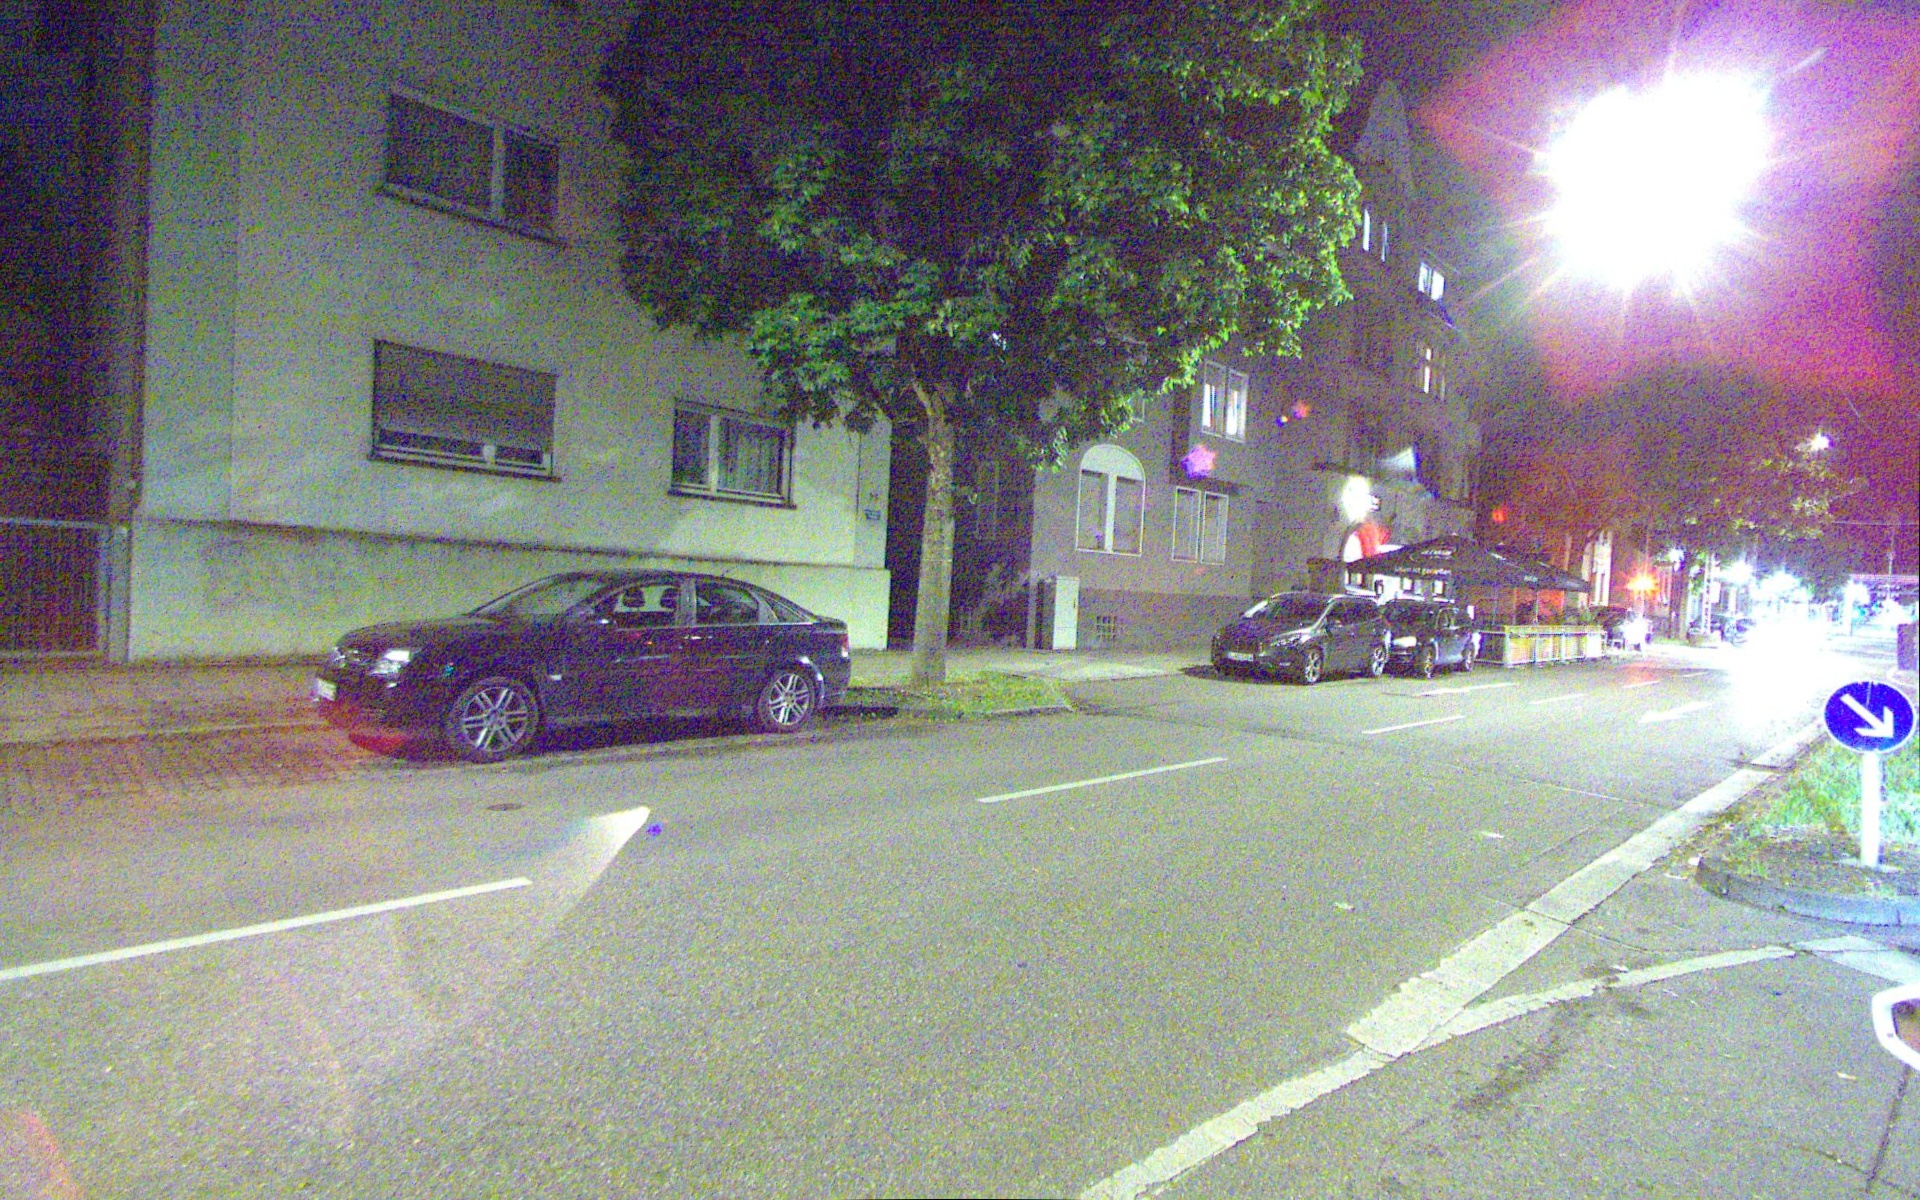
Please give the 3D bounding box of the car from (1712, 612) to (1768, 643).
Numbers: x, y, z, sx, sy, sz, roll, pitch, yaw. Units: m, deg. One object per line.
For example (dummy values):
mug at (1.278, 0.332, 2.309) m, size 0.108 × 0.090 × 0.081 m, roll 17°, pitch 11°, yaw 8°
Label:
car at (44.925, 1.584, 57.839) m, size 4.299 × 1.511 × 1.767 m, roll 1°, pitch 5°, yaw -43°

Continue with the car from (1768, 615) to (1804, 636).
car at (63.408, 1.926, 77.055) m, size 1.765 × 1.434 × 4.102 m, roll 6°, pitch 4°, yaw 43°

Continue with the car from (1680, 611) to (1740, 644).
car at (38.764, 1.409, 51.900) m, size 3.670 × 1.511 × 1.578 m, roll 2°, pitch 4°, yaw -41°

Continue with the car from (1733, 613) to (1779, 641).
car at (49.053, 1.642, 61.903) m, size 1.765 × 1.511 × 3.976 m, roll 8°, pitch 5°, yaw 43°

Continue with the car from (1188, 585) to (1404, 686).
car at (6.171, 0.601, 18.162) m, size 1.842 × 1.499 × 4.444 m, roll 5°, pitch 2°, yaw 45°

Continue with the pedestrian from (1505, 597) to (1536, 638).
pedestrian at (24.148, 0.765, 43.280) m, size 1.113 × 1.713 × 0.705 m, roll 1°, pitch 2°, yaw -35°

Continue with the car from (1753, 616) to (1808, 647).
car at (40.605, 1.531, 49.682) m, size 3.974 × 1.449 × 1.698 m, roll 1°, pitch 1°, yaw -45°

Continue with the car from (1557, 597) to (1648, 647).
car at (23.909, 0.811, 37.326) m, size 3.996 × 1.618 × 1.867 m, roll 2°, pitch 3°, yaw -44°

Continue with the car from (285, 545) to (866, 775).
car at (-3.103, 0.400, 8.822) m, size 1.840 × 1.453 × 4.379 m, roll 6°, pitch 3°, yaw 42°

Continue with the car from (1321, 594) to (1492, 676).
car at (9.736, 0.724, 21.717) m, size 1.842 × 1.453 × 4.415 m, roll 6°, pitch 3°, yaw 45°
